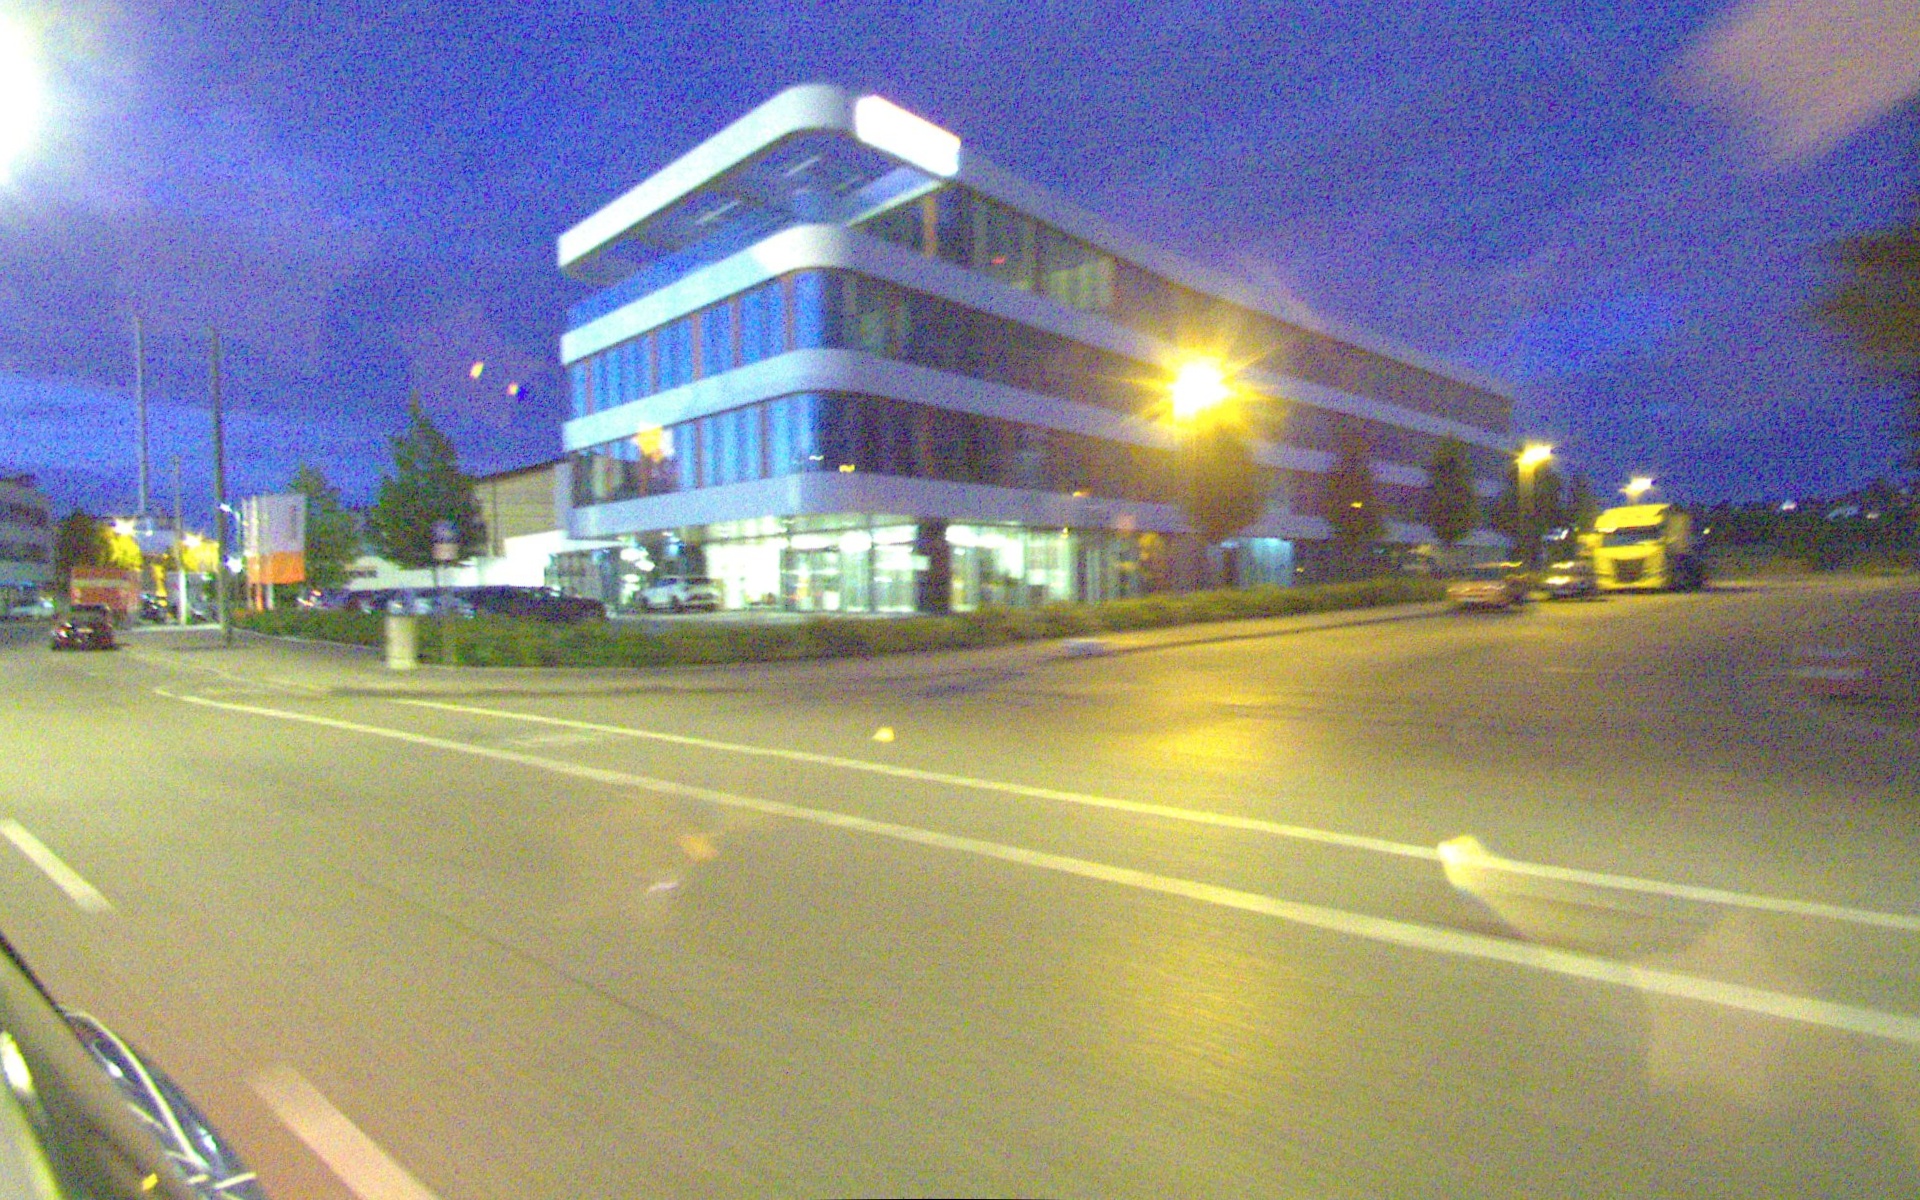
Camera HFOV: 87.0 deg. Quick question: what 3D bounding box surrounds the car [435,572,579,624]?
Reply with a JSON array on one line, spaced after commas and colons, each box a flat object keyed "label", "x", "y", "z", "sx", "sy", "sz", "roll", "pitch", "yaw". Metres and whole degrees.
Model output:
[{"label": "car", "x": -15.371, "y": -0.103, "z": 34.480, "sx": 4.084, "sy": 1.591, "sz": 1.843, "roll": -3, "pitch": 2, "yaw": -44}]

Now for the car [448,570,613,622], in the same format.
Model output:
[{"label": "car", "x": -13.682, "y": -0.170, "z": 32.358, "sx": 4.394, "sy": 1.463, "sz": 2.064, "roll": -3, "pitch": 2, "yaw": -41}]

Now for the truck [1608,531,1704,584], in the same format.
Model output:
[{"label": "truck", "x": 52.491, "y": -3.198, "z": 76.654, "sx": 3.341, "sy": 3.645, "sz": 9.637, "roll": -2, "pitch": 1, "yaw": 19}]

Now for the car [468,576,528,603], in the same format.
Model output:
[{"label": "car", "x": -27.307, "y": -0.585, "z": 59.740, "sx": 1.879, "sy": 1.468, "sz": 4.470, "roll": -4, "pitch": 3, "yaw": -42}]

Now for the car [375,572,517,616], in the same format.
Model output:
[{"label": "car", "x": -19.168, "y": -0.259, "z": 37.852, "sx": 4.353, "sy": 1.489, "sz": 1.852, "roll": -3, "pitch": 2, "yaw": -44}]

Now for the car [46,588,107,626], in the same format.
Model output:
[{"label": "car", "x": -40.435, "y": 0.278, "z": 46.401, "sx": 1.842, "sy": 1.605, "sz": 4.503, "roll": -2, "pitch": 1, "yaw": -38}]

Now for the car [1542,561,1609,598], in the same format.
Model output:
[{"label": "car", "x": 24.379, "y": -0.834, "z": 40.018, "sx": 1.693, "sy": 1.377, "sz": 3.947, "roll": 0, "pitch": 2, "yaw": 40}]

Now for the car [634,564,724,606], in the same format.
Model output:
[{"label": "car", "x": -12.055, "y": -0.636, "z": 43.297, "sx": 1.970, "sy": 1.653, "sz": 4.207, "roll": -4, "pitch": 2, "yaw": -43}]

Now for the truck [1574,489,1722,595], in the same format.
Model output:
[{"label": "truck", "x": 33.885, "y": -2.708, "z": 49.485, "sx": 12.407, "sy": 4.584, "sz": 3.582, "roll": -3, "pitch": 1, "yaw": -44}]

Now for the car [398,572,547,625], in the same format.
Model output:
[{"label": "car", "x": -17.304, "y": -0.077, "z": 36.031, "sx": 1.963, "sy": 1.693, "sz": 4.355, "roll": 0, "pitch": 2, "yaw": 44}]

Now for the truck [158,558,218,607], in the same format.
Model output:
[{"label": "truck", "x": -67.771, "y": -1.535, "z": 89.036, "sx": 2.708, "sy": 4.064, "sz": 9.590, "roll": -2, "pitch": 1, "yaw": -29}]

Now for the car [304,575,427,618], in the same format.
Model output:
[{"label": "car", "x": -27.530, "y": -0.195, "z": 46.965, "sx": 4.554, "sy": 1.829, "sz": 1.964, "roll": -3, "pitch": 2, "yaw": -44}]

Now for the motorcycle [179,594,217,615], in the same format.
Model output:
[{"label": "motorcycle", "x": -44.564, "y": 0.272, "z": 59.204, "sx": 0.528, "sy": 1.109, "sz": 1.679, "roll": 0, "pitch": 4, "yaw": 24}]

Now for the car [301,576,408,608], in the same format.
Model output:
[{"label": "car", "x": -30.764, "y": -0.431, "z": 51.461, "sx": 4.353, "sy": 1.463, "sz": 1.829, "roll": -3, "pitch": 2, "yaw": -44}]

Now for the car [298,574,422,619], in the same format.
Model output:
[{"label": "car", "x": -26.401, "y": -0.173, "z": 44.627, "sx": 4.353, "sy": 1.829, "sz": 1.964, "roll": -2, "pitch": 1, "yaw": -44}]

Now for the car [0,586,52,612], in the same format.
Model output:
[{"label": "car", "x": -75.814, "y": -0.124, "z": 82.130, "sx": 1.965, "sy": 2.029, "sz": 4.928, "roll": -1, "pitch": 1, "yaw": -27}]

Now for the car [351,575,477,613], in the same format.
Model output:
[{"label": "car", "x": -22.449, "y": -0.270, "z": 41.709, "sx": 4.217, "sy": 1.404, "sz": 1.829, "roll": -3, "pitch": 2, "yaw": -44}]

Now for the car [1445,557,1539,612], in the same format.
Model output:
[{"label": "car", "x": 17.296, "y": -0.541, "z": 32.821, "sx": 1.890, "sy": 1.563, "sz": 3.947, "roll": 0, "pitch": 3, "yaw": 40}]

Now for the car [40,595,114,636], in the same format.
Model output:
[{"label": "car", "x": -32.565, "y": 0.531, "z": 37.289, "sx": 1.793, "sy": 1.381, "sz": 4.364, "roll": -2, "pitch": 2, "yaw": -44}]

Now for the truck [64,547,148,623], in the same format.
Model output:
[{"label": "truck", "x": -50.551, "y": -0.888, "z": 60.133, "sx": 2.735, "sy": 4.151, "sz": 9.366, "roll": -2, "pitch": 1, "yaw": -34}]

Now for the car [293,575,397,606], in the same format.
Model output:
[{"label": "car", "x": -32.282, "y": -0.521, "z": 53.209, "sx": 4.353, "sy": 1.493, "sz": 1.894, "roll": -3, "pitch": 2, "yaw": -44}]

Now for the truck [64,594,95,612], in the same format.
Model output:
[{"label": "truck", "x": -82.743, "y": 0.266, "z": 95.117, "sx": 1.351, "sy": 1.657, "sz": 3.825, "roll": -2, "pitch": 1, "yaw": -28}]

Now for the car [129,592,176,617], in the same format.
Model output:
[{"label": "car", "x": -58.212, "y": 0.304, "z": 73.025, "sx": 1.917, "sy": 1.730, "sz": 5.214, "roll": -2, "pitch": 1, "yaw": -31}]
